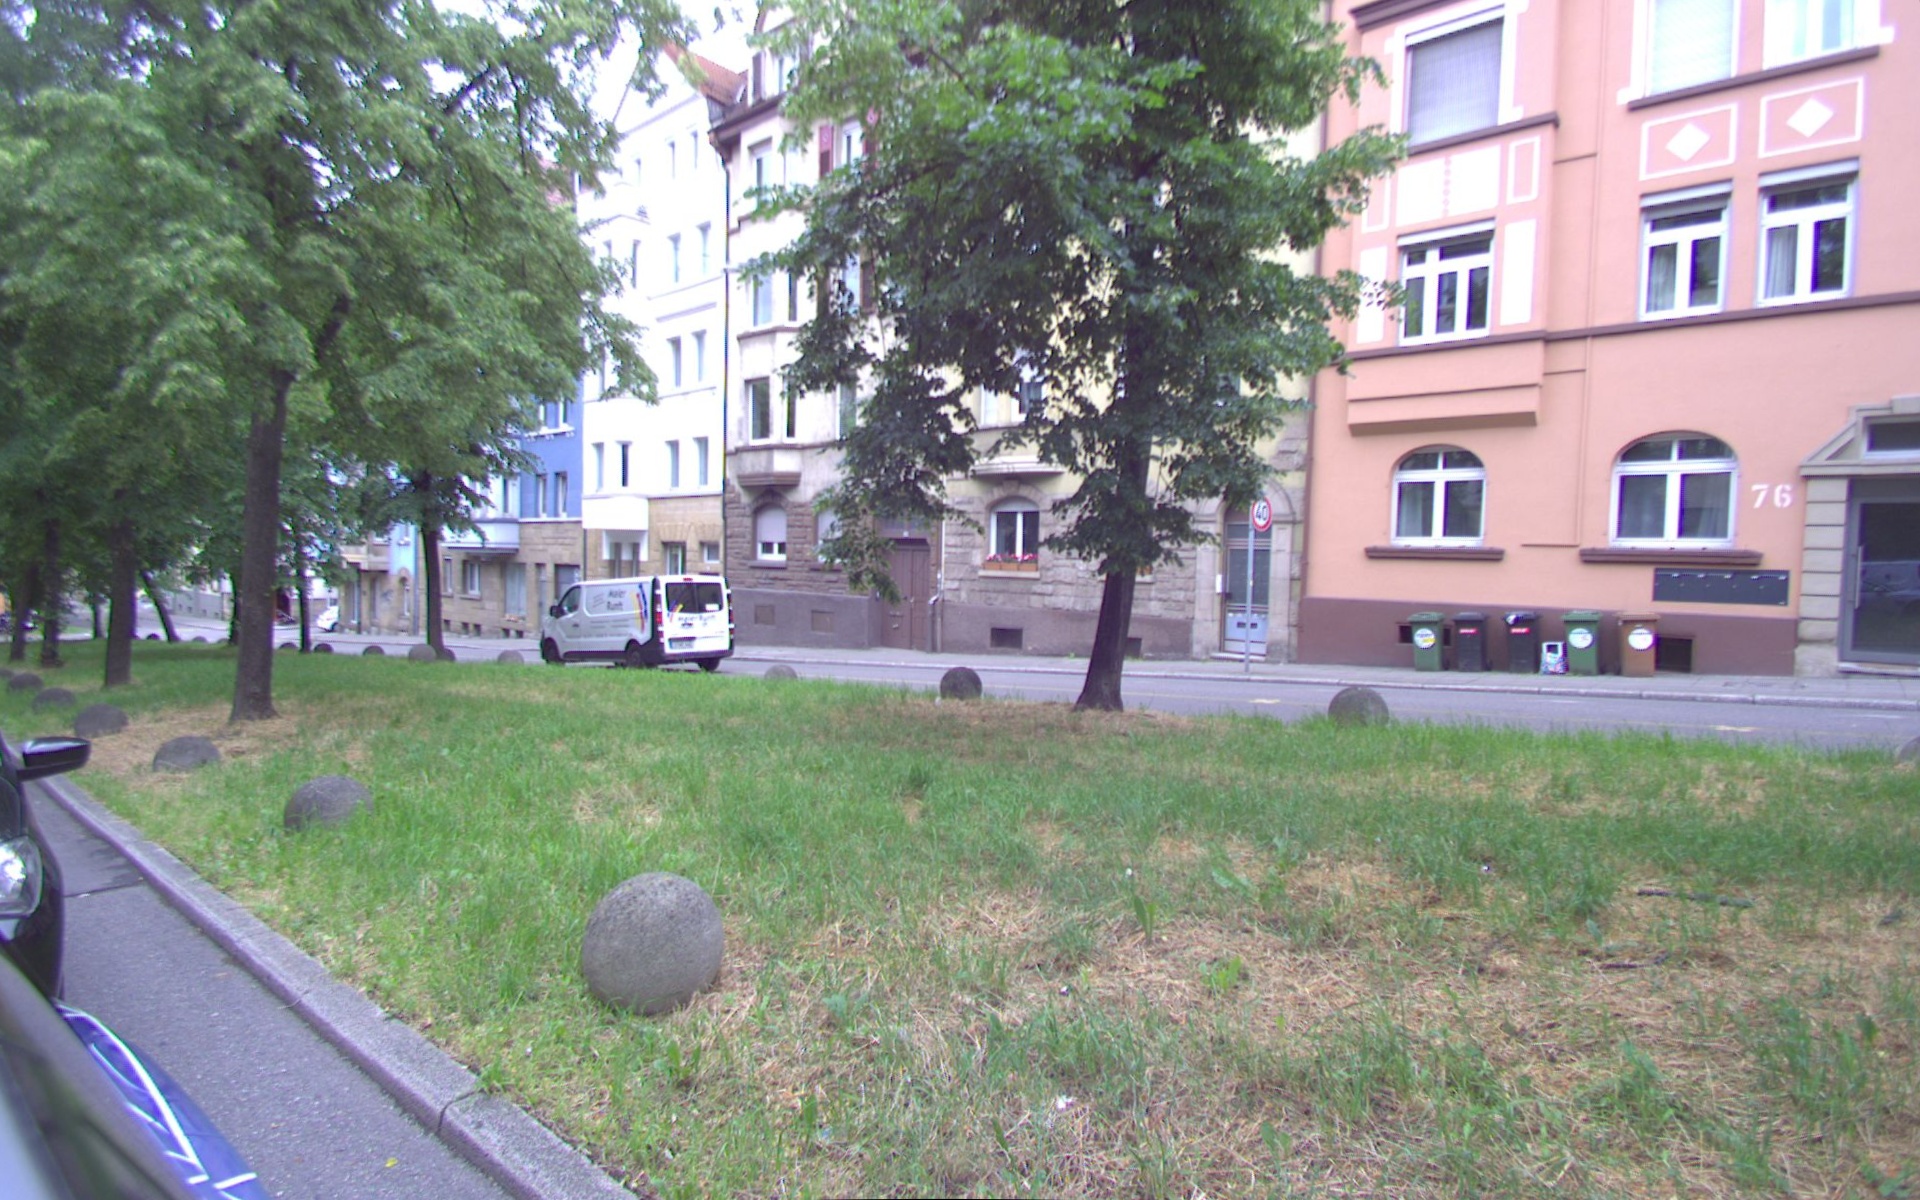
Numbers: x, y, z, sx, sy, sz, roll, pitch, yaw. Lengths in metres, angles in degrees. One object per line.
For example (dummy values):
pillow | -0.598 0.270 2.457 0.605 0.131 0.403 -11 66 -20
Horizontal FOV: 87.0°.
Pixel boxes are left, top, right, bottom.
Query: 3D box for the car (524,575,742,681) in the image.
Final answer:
car | -7.027 0.558 21.403 5.306 1.959 1.972 -2 0 42

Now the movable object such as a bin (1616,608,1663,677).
movable object such as a bin | 9.640 0.590 14.344 0.514 0.928 0.750 -1 0 36

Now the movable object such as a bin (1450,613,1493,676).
movable object such as a bin | 7.995 0.681 15.815 0.531 0.953 0.575 -1 0 35

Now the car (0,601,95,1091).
car | -4.516 0.742 3.691 3.295 1.476 1.590 -1 -2 41

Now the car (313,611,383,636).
car | -35.355 1.327 58.513 3.244 1.341 1.674 -1 0 -40

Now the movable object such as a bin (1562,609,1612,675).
movable object such as a bin | 9.146 0.597 14.762 0.558 0.928 0.648 -1 0 36

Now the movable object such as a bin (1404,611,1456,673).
movable object such as a bin | 7.506 0.653 16.169 0.617 0.955 0.610 -1 0 40
